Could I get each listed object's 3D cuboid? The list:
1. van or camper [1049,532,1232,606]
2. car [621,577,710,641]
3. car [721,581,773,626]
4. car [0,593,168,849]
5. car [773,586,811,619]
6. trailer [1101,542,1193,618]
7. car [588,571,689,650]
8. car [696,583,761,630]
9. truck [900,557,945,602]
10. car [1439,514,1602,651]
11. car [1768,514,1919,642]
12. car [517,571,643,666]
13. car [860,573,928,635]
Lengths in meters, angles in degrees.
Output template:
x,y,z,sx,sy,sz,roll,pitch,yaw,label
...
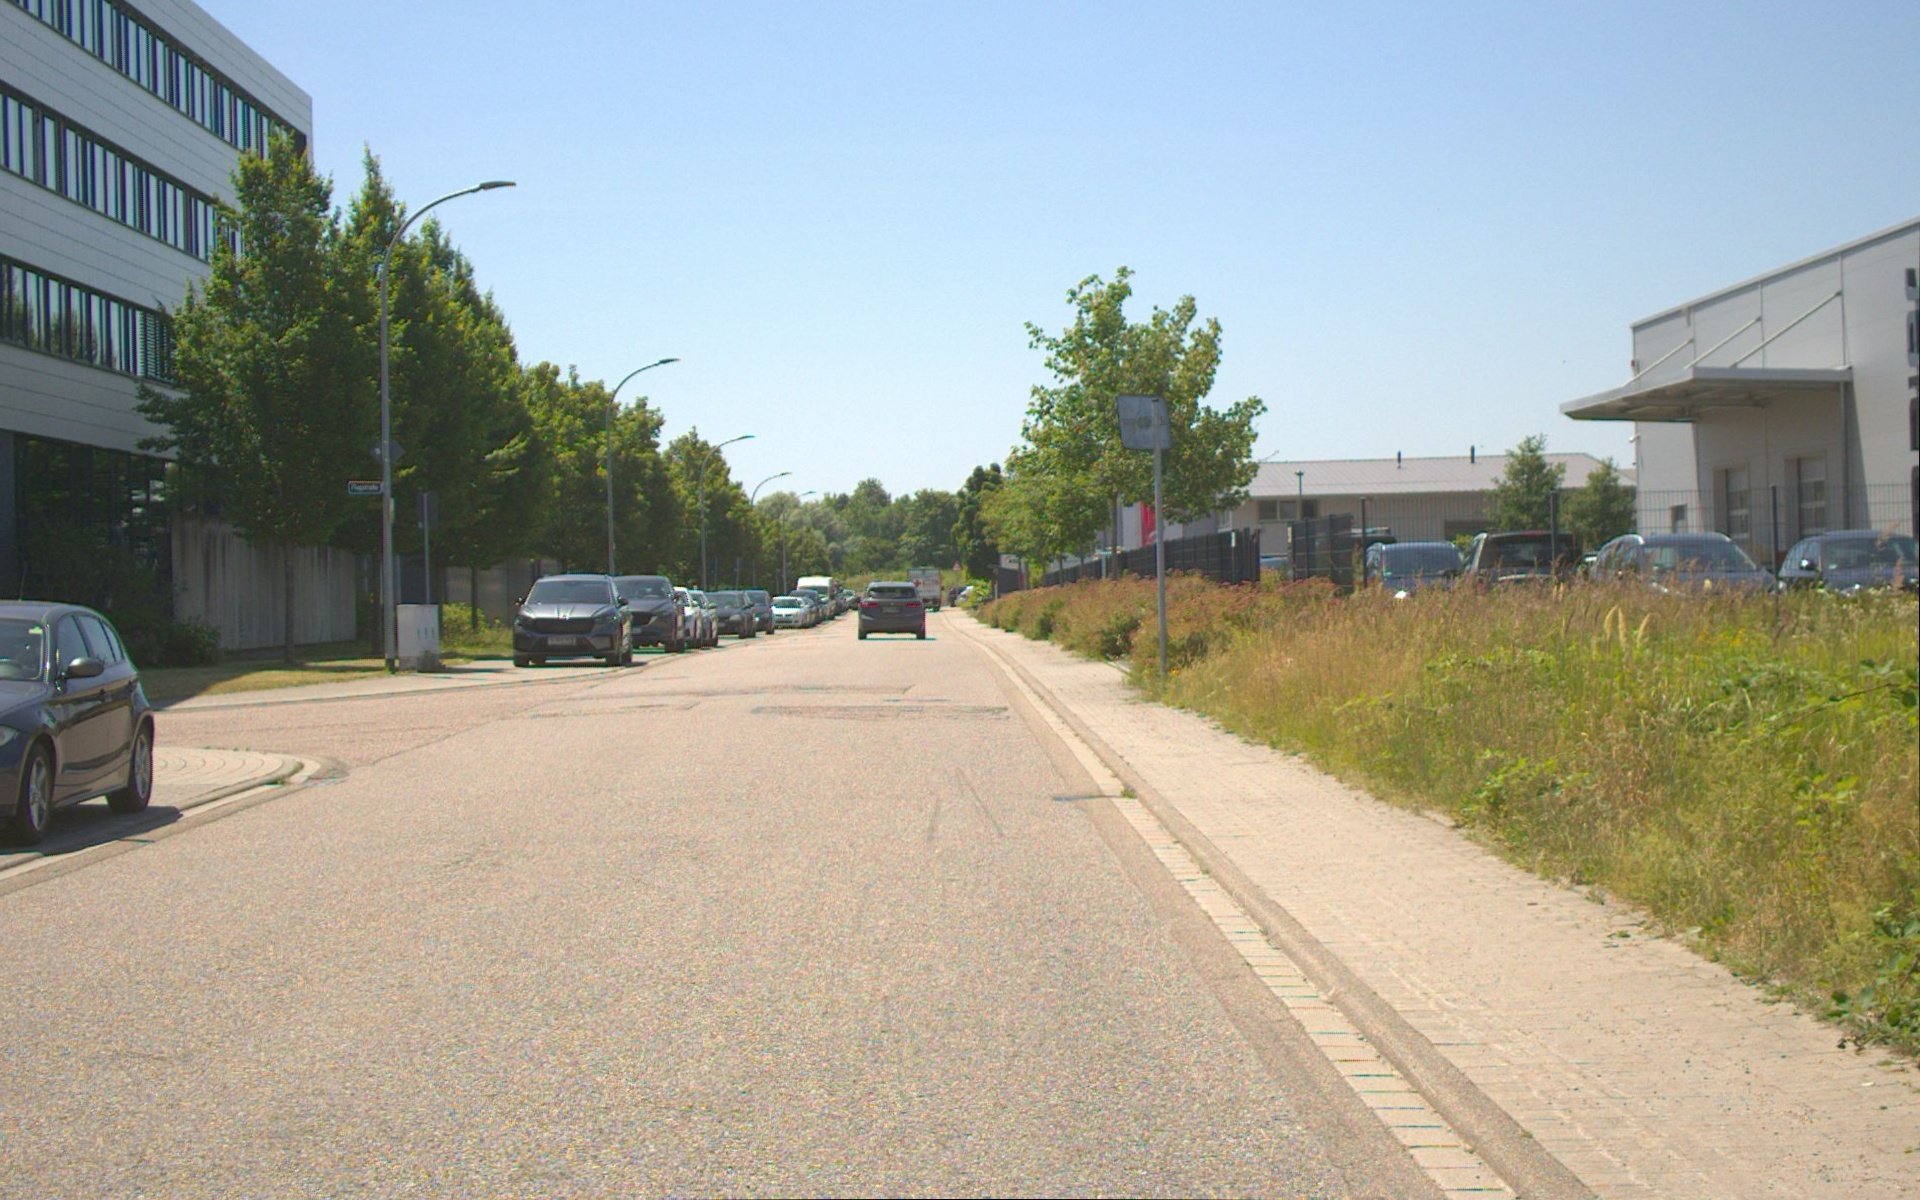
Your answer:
x,y,z,sx,sy,sz,roll,pitch,yaw,label
6.880,-1.180,131.949,6.757,2.576,2.636,-2,0,-1,van or camper
-6.960,0.209,81.604,1.771,1.426,4.201,-1,0,-1,car
-7.881,0.129,127.418,1.770,1.606,4.248,-1,0,-2,car
-6.225,0.698,21.405,1.674,1.446,4.069,-1,0,-1,car
-7.776,0.125,158.699,1.720,1.471,3.858,-1,0,-3,car
6.286,-0.675,115.648,2.822,2.395,1.420,-3,0,-4,trailer
-6.898,0.211,74.099,1.771,1.618,4.582,-1,0,-1,car
-7.309,0.200,108.805,1.771,1.426,4.201,-1,0,-1,car
-2.529,-1.362,231.455,2.933,2.964,6.419,1,0,0,truck
6.779,-0.209,41.805,1.466,1.568,2.662,-2,0,-1,car
11.210,-0.274,42.497,1.514,1.491,3.332,-2,0,-2,car
-6.705,0.319,61.099,1.771,1.582,4.481,-1,0,-1,car
-1.770,0.094,93.073,1.789,1.618,3.809,1,0,-1,car
